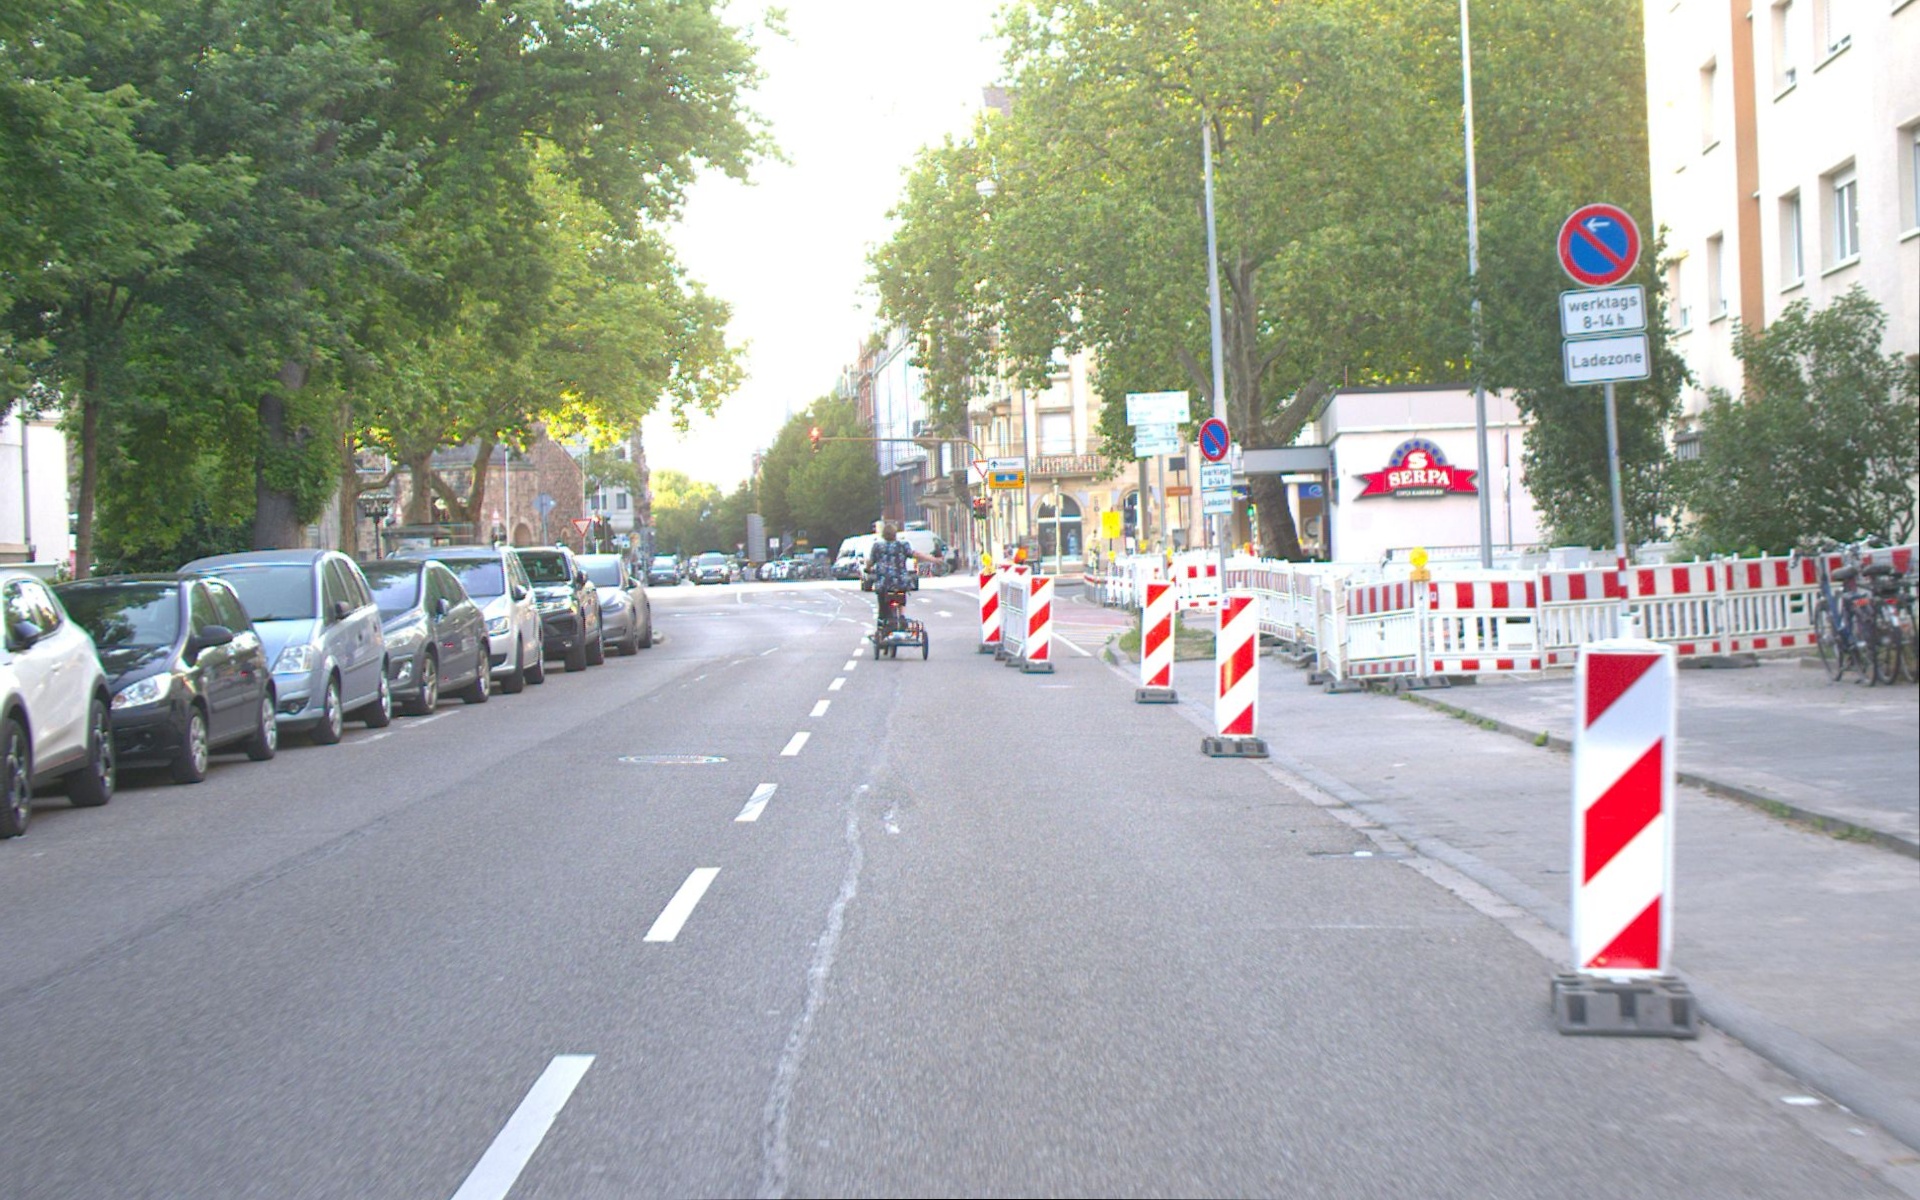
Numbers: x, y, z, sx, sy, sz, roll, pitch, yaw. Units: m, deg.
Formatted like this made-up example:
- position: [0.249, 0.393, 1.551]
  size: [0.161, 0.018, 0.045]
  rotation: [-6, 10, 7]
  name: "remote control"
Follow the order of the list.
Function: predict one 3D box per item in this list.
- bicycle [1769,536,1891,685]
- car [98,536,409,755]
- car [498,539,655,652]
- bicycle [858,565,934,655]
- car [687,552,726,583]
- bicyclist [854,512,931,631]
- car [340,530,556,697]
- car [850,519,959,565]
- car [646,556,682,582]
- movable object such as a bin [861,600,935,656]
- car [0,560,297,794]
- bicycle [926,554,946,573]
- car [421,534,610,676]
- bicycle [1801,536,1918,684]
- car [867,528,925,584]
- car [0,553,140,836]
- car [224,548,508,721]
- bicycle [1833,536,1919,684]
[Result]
- position: [7.381, 0.070, 29.217]
  size: [0.451, 1.217, 1.911]
  rotation: [-1, 1, -2]
  name: "bicycle"
- position: [-5.909, 0.328, 29.212]
  size: [1.707, 1.595, 4.117]
  rotation: [-5, 1, 0]
  name: "car"
- position: [-6.039, -0.101, 54.601]
  size: [1.953, 1.611, 4.605]
  rotation: [-4, 1, -1]
  name: "car"
- position: [-0.911, 0.131, 48.121]
  size: [0.939, 1.168, 2.359]
  rotation: [-4, 0, -2]
  name: "bicycle"
- position: [-13.685, -1.760, 185.324]
  size: [1.781, 1.645, 3.822]
  rotation: [0, 1, -8]
  name: "car"
- position: [-0.952, -0.399, 48.136]
  size: [0.939, 1.576, 1.146]
  rotation: [-4, 0, -2]
  name: "bicyclist"
- position: [-5.799, 0.111, 39.477]
  size: [1.846, 1.685, 4.860]
  rotation: [-4, 1, -2]
  name: "car"
- position: [-2.919, -3.067, 180.853]
  size: [5.807, 2.280, 2.071]
  rotation: [-2, 1, -43]
  name: "car"
- position: [-18.516, -1.937, 214.943]
  size: [1.993, 1.645, 3.822]
  rotation: [0, 1, -8]
  name: "car"
- position: [-0.839, 0.374, 46.448]
  size: [0.939, 0.686, 0.993]
  rotation: [-4, 0, -2]
  name: "movable object such as a bin"
- position: [-6.056, 0.512, 24.797]
  size: [1.707, 1.447, 3.843]
  rotation: [-5, 1, 0]
  name: "car"
- position: [-1.249, -1.868, 176.782]
  size: [0.544, 0.965, 1.920]
  rotation: [-1, 1, 13]
  name: "bicycle"
- position: [-5.975, 0.029, 46.732]
  size: [1.953, 1.713, 4.771]
  rotation: [-4, 1, -1]
  name: "car"
- position: [7.655, 0.068, 29.308]
  size: [0.398, 1.217, 1.911]
  rotation: [-1, 1, -2]
  name: "bicycle"
- position: [-2.221, -1.517, 118.610]
  size: [1.866, 1.808, 4.000]
  rotation: [-3, 1, -2]
  name: "car"
- position: [-6.126, 0.556, 20.385]
  size: [1.590, 1.533, 4.207]
  rotation: [-5, 1, -3]
  name: "car"
- position: [-5.792, 0.289, 34.018]
  size: [1.733, 1.492, 4.270]
  rotation: [-3, 1, 4]
  name: "car"
- position: [7.906, 0.067, 29.241]
  size: [0.398, 1.217, 1.826]
  rotation: [-1, 1, -2]
  name: "bicycle"
